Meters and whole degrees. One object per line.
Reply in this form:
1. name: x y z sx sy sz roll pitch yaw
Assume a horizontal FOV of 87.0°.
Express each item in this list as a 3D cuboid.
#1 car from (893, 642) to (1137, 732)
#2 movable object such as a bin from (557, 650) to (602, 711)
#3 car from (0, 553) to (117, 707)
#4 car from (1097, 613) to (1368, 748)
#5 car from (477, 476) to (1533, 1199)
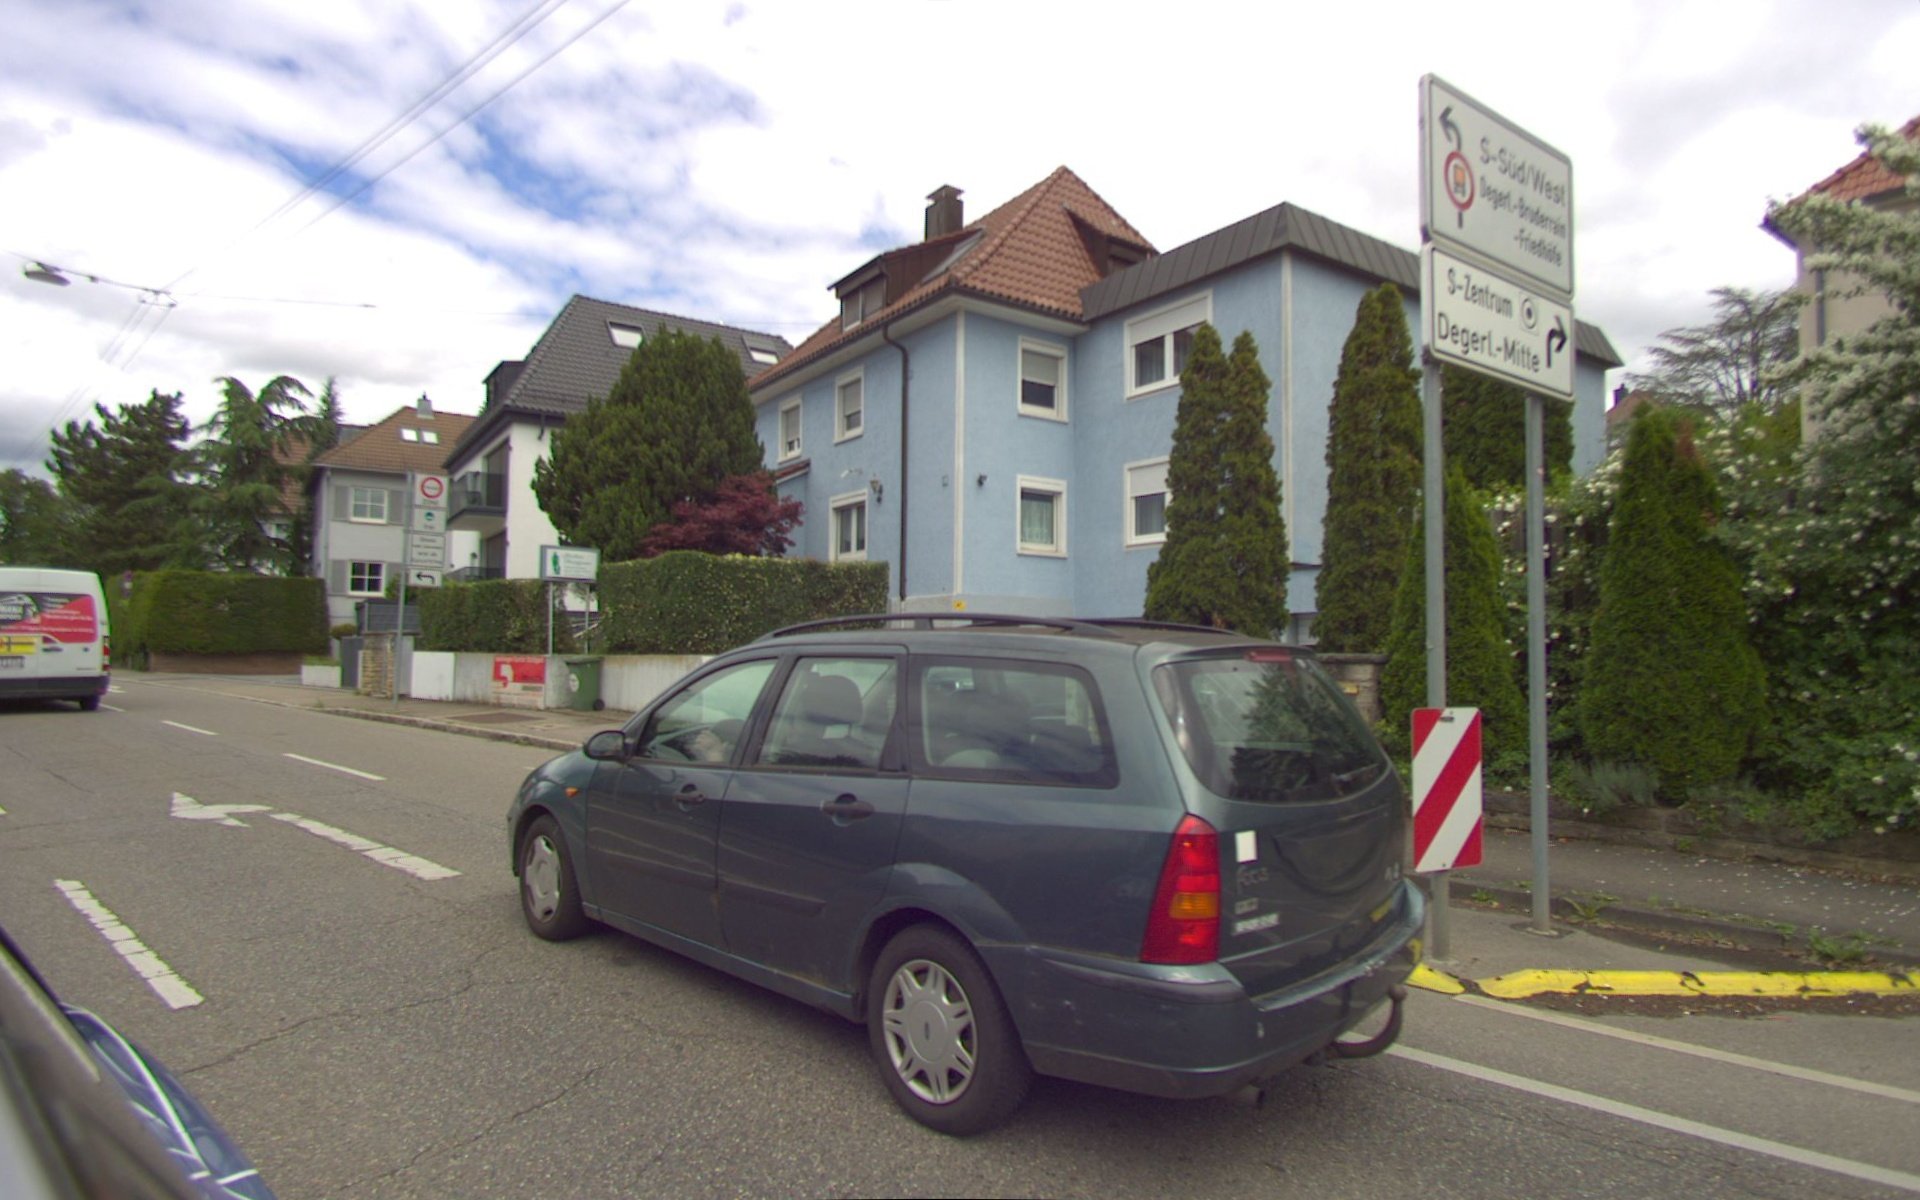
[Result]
1. car: 1.013 1.456 17.828 3.934 1.401 2.004 2 -3 -37
2. movable object such as a bin: -6.388 1.342 16.995 0.540 0.981 0.502 -2 -4 44
3. car: -17.772 0.537 18.854 6.120 2.517 2.090 -1 -3 41
4. car: 3.741 1.098 13.699 3.540 1.604 1.646 5 -5 -35
5. car: -0.291 0.611 4.294 4.449 1.565 1.714 -2 -4 44
